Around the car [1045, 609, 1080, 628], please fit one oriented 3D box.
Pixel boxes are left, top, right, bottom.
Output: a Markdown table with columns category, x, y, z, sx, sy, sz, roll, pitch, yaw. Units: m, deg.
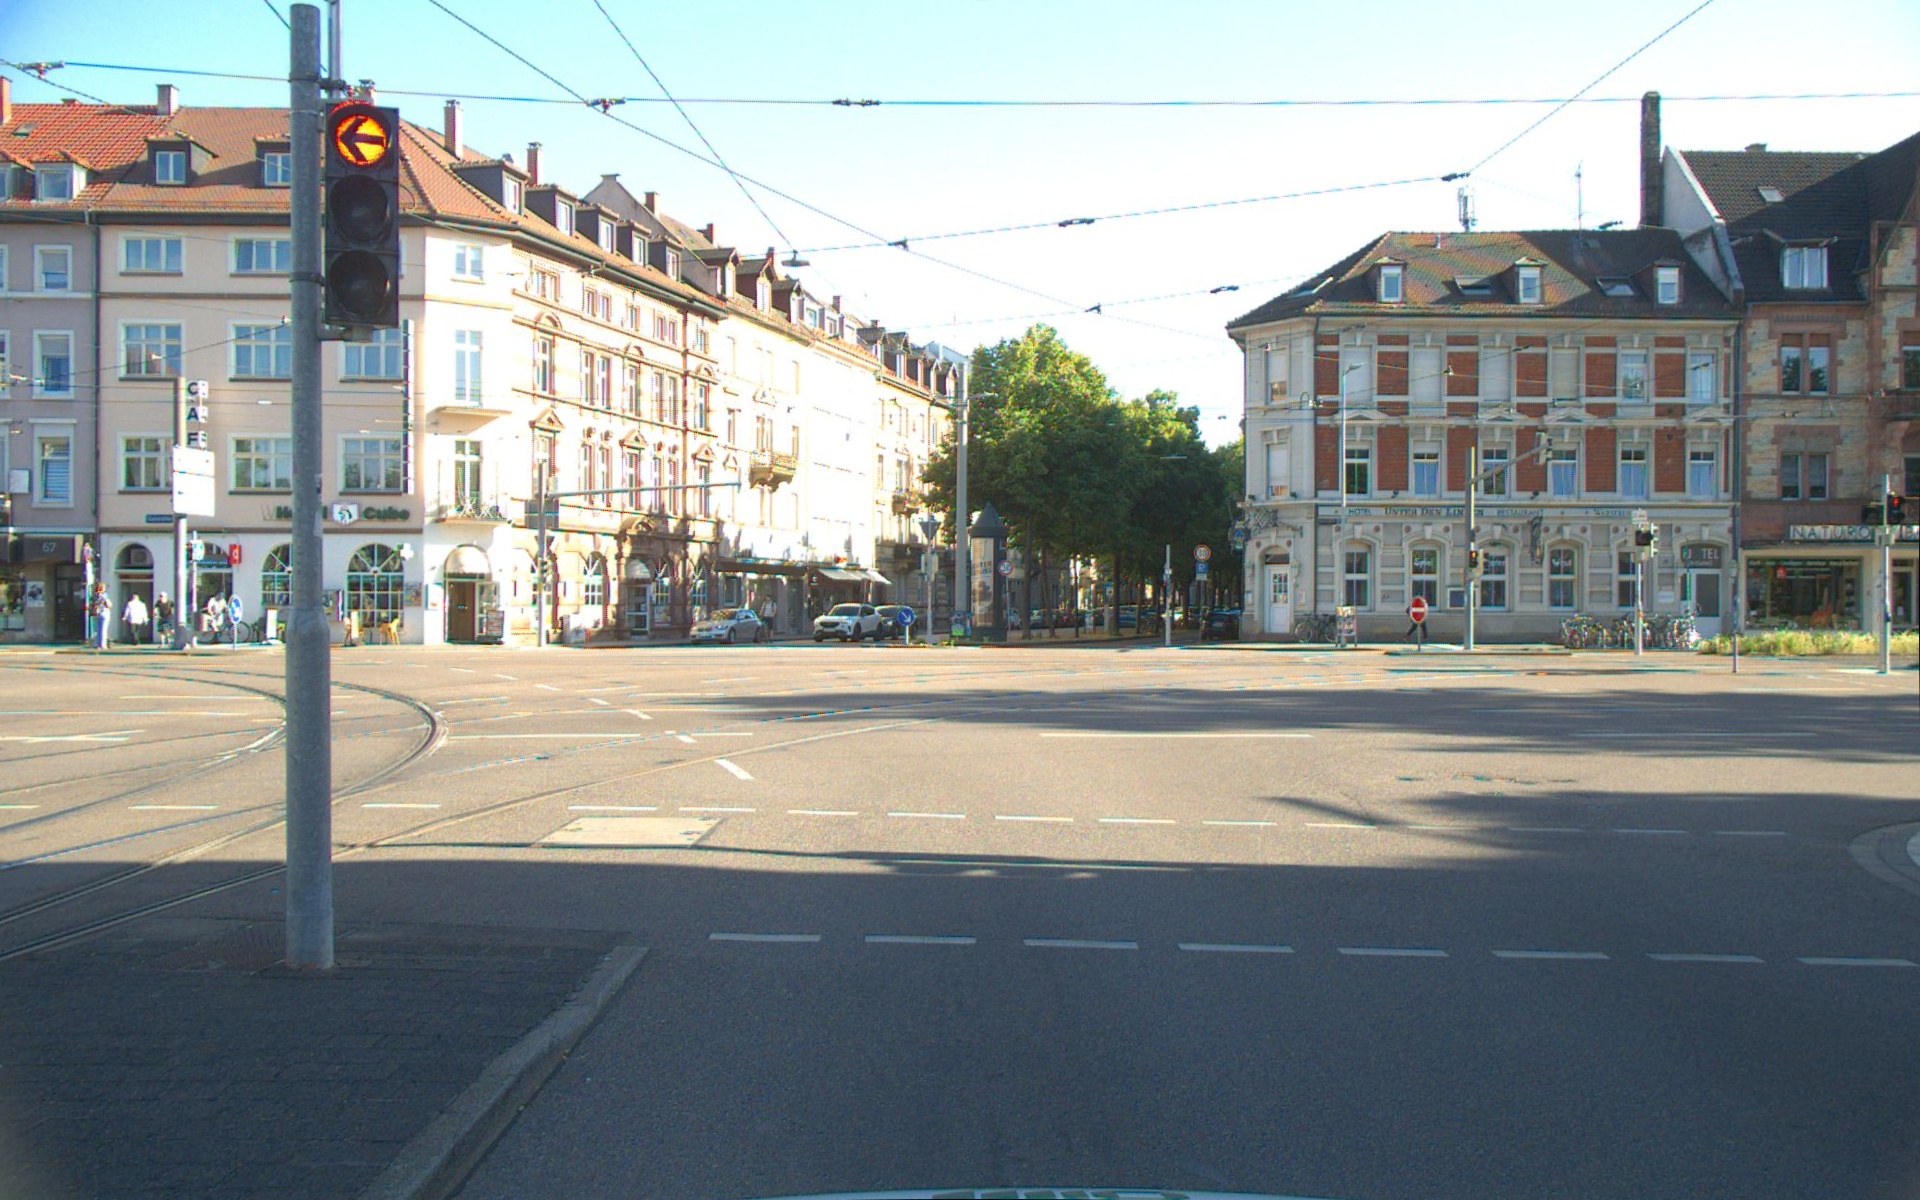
| category | x | y | z | sx | sy | sz | roll | pitch | yaw |
| --- | --- | --- | --- | --- | --- | --- | --- | --- | --- |
| car | 8.150 | 1.434 | 131.497 | 1.951 | 1.429 | 4.172 | 0 | 0 | 15 |

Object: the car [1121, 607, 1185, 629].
| category | x | y | z | sx | sy | sz | roll | pitch | yaw |
| --- | --- | --- | --- | --- | --- | --- | --- | --- | --- |
| car | 12.321 | 1.142 | 105.551 | 3.902 | 1.311 | 1.696 | 0 | 0 | 10 |

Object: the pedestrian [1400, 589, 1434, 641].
| category | x | y | z | sx | sy | sz | roll | pitch | yaw |
| --- | --- | --- | --- | --- | --- | --- | --- | --- | --- |
| pedestrian | 15.719 | 0.515 | 56.916 | 1.013 | 1.741 | 0.630 | 1 | -1 | 8 |

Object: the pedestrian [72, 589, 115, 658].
| category | x | y | z | sx | sy | sz | roll | pitch | yaw |
| --- | --- | --- | --- | --- | --- | --- | --- | --- | --- |
| pedestrian | -21.625 | 0.572 | 41.292 | 0.725 | 1.711 | 0.628 | 0 | 0 | -1 |

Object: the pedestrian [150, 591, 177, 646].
| category | x | y | z | sx | sy | sz | roll | pitch | yaw |
| --- | --- | --- | --- | --- | --- | --- | --- | --- | --- |
| pedestrian | -24.956 | 0.585 | 51.829 | 0.731 | 1.711 | 0.623 | 0 | 0 | -26 |

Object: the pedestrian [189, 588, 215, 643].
| category | x | y | z | sx | sy | sz | roll | pitch | yaw |
| --- | --- | --- | --- | --- | --- | --- | --- | --- | --- |
| pedestrian | -23.681 | 0.470 | 51.676 | 0.731 | 1.711 | 0.623 | 0 | 0 | -26 |

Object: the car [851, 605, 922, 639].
| category | x | y | z | sx | sy | sz | roll | pitch | yaw |
| --- | --- | --- | --- | --- | --- | --- | --- | --- | --- |
| car | -3.226 | 0.954 | 73.570 | 1.951 | 1.429 | 4.172 | 0 | 0 | 15 |

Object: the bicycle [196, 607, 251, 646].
| category | x | y | z | sx | sy | sz | roll | pitch | yaw |
| --- | --- | --- | --- | --- | --- | --- | --- | --- | --- |
| bicycle | -25.174 | 0.894 | 56.529 | 1.684 | 1.299 | 0.385 | 0 | 0 | -18 |

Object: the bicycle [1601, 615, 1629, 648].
| category | x | y | z | sx | sy | sz | roll | pitch | yaw |
| --- | --- | --- | --- | --- | --- | --- | --- | --- | --- |
| bicycle | 21.160 | 1.003 | 53.472 | 0.476 | 1.038 | 1.785 | 0 | 0 | 9 |

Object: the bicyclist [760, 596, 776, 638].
| category | x | y | z | sx | sy | sz | roll | pitch | yaw |
| --- | --- | --- | --- | --- | --- | --- | --- | --- | --- |
| bicyclist | -7.548 | 0.654 | 65.059 | 0.479 | 1.629 | 0.667 | 0 | 0 | 9 |

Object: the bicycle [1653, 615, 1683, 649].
| category | x | y | z | sx | sy | sz | roll | pitch | yaw |
| --- | --- | --- | --- | --- | --- | --- | --- | --- | --- |
| bicycle | 22.902 | 1.034 | 53.548 | 0.476 | 1.038 | 1.785 | 0 | 0 | 9 |

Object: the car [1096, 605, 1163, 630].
| category | x | y | z | sx | sy | sz | roll | pitch | yaw |
| --- | --- | --- | --- | --- | --- | --- | --- | --- | --- |
| car | 10.253 | 1.039 | 99.813 | 3.902 | 1.480 | 1.683 | 0 | 0 | 10 |

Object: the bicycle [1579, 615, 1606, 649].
| category | x | y | z | sx | sy | sz | roll | pitch | yaw |
| --- | --- | --- | --- | --- | --- | --- | --- | --- | --- |
| bicycle | 20.470 | 1.024 | 53.563 | 0.476 | 1.038 | 1.785 | 0 | 0 | 9 |

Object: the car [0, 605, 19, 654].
| category | x | y | z | sx | sy | sz | roll | pitch | yaw |
| --- | --- | --- | --- | --- | --- | --- | --- | --- | --- |
| car | -32.130 | 0.903 | 52.316 | 3.651 | 1.517 | 1.818 | 1 | 0 | 2 |

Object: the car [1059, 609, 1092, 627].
| category | x | y | z | sx | sy | sz | roll | pitch | yaw |
| --- | --- | --- | --- | --- | --- | --- | --- | --- | --- |
| car | 9.580 | 1.481 | 136.715 | 1.951 | 1.429 | 4.172 | 0 | 0 | 15 |

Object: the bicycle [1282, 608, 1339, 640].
| category | x | y | z | sx | sy | sz | roll | pitch | yaw |
| --- | --- | --- | --- | --- | --- | --- | --- | --- | --- |
| bicycle | 12.174 | 0.830 | 57.503 | 1.911 | 1.072 | 0.716 | 0 | 0 | 9 |

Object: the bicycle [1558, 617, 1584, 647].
| category | x | y | z | sx | sy | sz | roll | pitch | yaw |
| --- | --- | --- | --- | --- | --- | --- | --- | --- | --- |
| bicycle | 19.801 | 1.017 | 53.640 | 0.476 | 0.930 | 1.785 | 0 | 0 | 9 |

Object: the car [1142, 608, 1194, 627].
| category | x | y | z | sx | sy | sz | roll | pitch | yaw |
| --- | --- | --- | --- | --- | --- | --- | --- | --- | --- |
| car | 14.050 | 1.151 | 111.650 | 3.360 | 1.261 | 1.578 | 0 | 0 | 10 |

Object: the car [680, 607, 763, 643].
| category | x | y | z | sx | sy | sz | roll | pitch | yaw |
| --- | --- | --- | --- | --- | --- | --- | --- | --- | --- |
| car | -9.600 | 0.986 | 66.873 | 1.951 | 1.385 | 3.821 | 0 | 0 | 15 |

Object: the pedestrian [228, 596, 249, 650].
| category | x | y | z | sx | sy | sz | roll | pitch | yaw |
| --- | --- | --- | --- | --- | --- | --- | --- | --- | --- |
| pedestrian | -17.200 | 0.546 | 39.420 | 0.358 | 1.275 | 0.449 | 0 | 0 | -12 |

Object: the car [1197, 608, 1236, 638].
| category | x | y | z | sx | sy | sz | roll | pitch | yaw |
| --- | --- | --- | --- | --- | --- | --- | --- | --- | --- |
| car | 12.854 | 1.143 | 82.695 | 1.717 | 1.445 | 4.003 | 0 | 0 | 12 |

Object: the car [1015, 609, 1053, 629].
| category | x | y | z | sx | sy | sz | roll | pitch | yaw |
| --- | --- | --- | --- | --- | --- | --- | --- | --- | --- |
| car | 5.482 | 1.379 | 122.630 | 1.951 | 1.429 | 4.172 | 0 | 0 | 15 |

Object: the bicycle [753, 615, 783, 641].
| category | x | y | z | sx | sy | sz | roll | pitch | yaw |
| --- | --- | --- | --- | --- | --- | --- | --- | --- | --- |
| bicycle | -7.558 | 1.099 | 65.159 | 0.641 | 1.018 | 1.666 | 1 | 0 | 11 |

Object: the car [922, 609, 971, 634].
| category | x | y | z | sx | sy | sz | roll | pitch | yaw |
| --- | --- | --- | --- | --- | --- | --- | --- | --- | --- |
| car | -0.815 | 1.318 | 102.047 | 1.951 | 1.429 | 4.172 | 0 | 0 | 15 |

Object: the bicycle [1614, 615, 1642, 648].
| category | x | y | z | sx | sy | sz | roll | pitch | yaw |
| --- | --- | --- | --- | --- | --- | --- | --- | --- | --- |
| bicycle | 21.609 | 1.011 | 53.539 | 0.476 | 1.038 | 1.785 | 0 | 0 | 9 |

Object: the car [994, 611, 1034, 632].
| category | x | y | z | sx | sy | sz | roll | pitch | yaw |
| --- | --- | --- | --- | --- | --- | --- | --- | --- | --- |
| car | 3.822 | 1.485 | 116.884 | 1.951 | 1.429 | 4.172 | 0 | 0 | 15 |

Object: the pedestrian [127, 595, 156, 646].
| category | x | y | z | sx | sy | sz | roll | pitch | yaw |
| --- | --- | --- | --- | --- | --- | --- | --- | --- | --- |
| pedestrian | -27.516 | 0.679 | 55.597 | 0.727 | 1.711 | 0.626 | 0 | 0 | -12 |

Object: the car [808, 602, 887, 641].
| category | x | y | z | sx | sy | sz | roll | pitch | yaw |
| --- | --- | --- | --- | --- | --- | --- | --- | --- | --- |
| car | -4.532 | 0.848 | 67.378 | 1.951 | 1.542 | 4.172 | 0 | 0 | 15 |

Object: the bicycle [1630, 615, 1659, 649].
| category | x | y | z | sx | sy | sz | roll | pitch | yaw |
| --- | --- | --- | --- | --- | --- | --- | --- | --- | --- |
| bicycle | 22.107 | 1.020 | 53.468 | 0.476 | 1.038 | 1.785 | 0 | 0 | 9 |

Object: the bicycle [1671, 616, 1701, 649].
| category | x | y | z | sx | sy | sz | roll | pitch | yaw |
| --- | --- | --- | --- | --- | --- | --- | --- | --- | --- |
| bicycle | 23.587 | 1.047 | 53.730 | 0.476 | 1.038 | 1.785 | 0 | 0 | 9 |
